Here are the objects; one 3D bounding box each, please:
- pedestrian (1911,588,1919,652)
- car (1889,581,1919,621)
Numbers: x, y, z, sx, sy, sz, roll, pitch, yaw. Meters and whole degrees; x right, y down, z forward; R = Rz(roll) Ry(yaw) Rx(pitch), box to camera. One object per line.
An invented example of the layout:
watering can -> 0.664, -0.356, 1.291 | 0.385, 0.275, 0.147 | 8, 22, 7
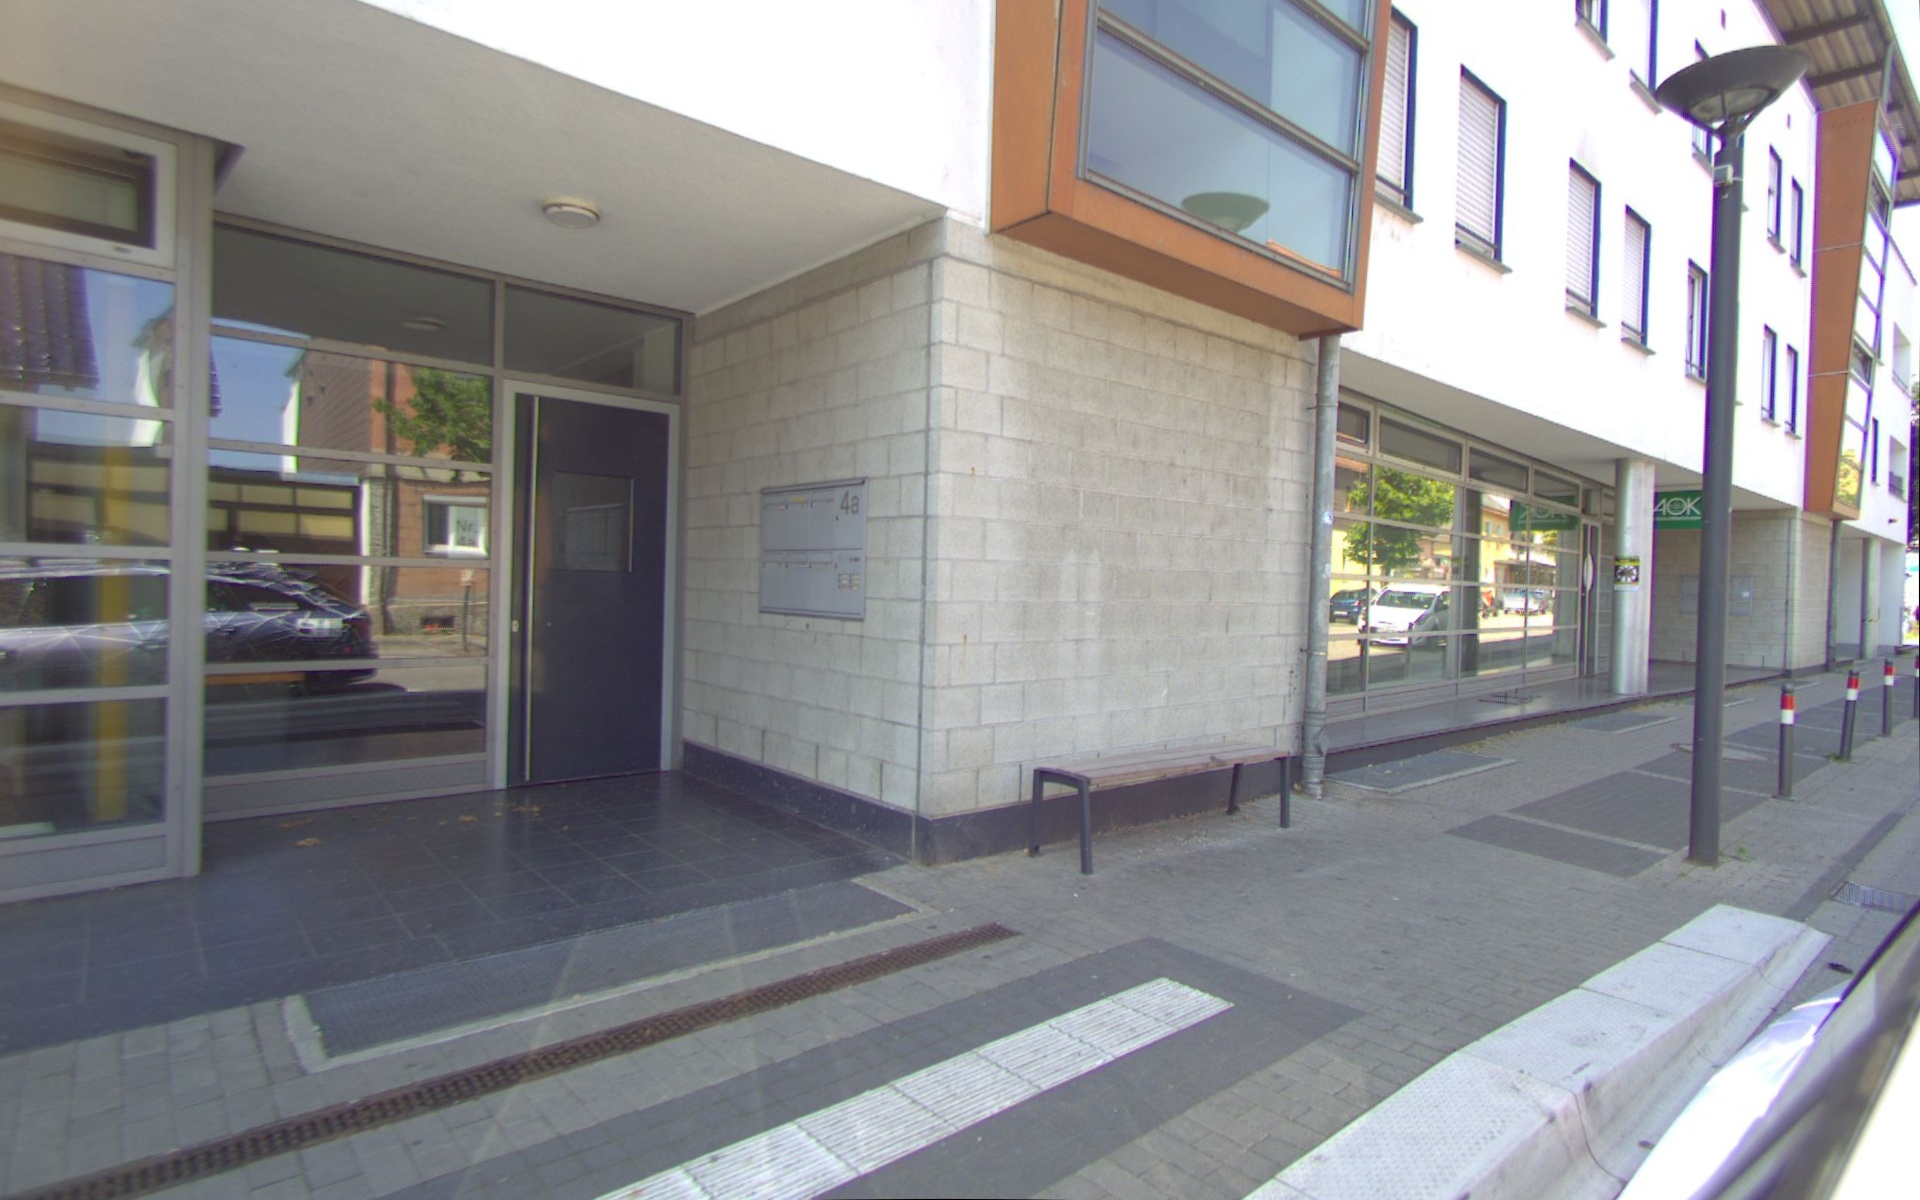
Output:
pedestrian -> 25.091, 0.537, 25.959 | 0.903, 1.607, 0.826 | 0, 4, -40
car -> 47.444, 0.098, 48.399 | 1.965, 1.882, 4.202 | 0, 2, -41
